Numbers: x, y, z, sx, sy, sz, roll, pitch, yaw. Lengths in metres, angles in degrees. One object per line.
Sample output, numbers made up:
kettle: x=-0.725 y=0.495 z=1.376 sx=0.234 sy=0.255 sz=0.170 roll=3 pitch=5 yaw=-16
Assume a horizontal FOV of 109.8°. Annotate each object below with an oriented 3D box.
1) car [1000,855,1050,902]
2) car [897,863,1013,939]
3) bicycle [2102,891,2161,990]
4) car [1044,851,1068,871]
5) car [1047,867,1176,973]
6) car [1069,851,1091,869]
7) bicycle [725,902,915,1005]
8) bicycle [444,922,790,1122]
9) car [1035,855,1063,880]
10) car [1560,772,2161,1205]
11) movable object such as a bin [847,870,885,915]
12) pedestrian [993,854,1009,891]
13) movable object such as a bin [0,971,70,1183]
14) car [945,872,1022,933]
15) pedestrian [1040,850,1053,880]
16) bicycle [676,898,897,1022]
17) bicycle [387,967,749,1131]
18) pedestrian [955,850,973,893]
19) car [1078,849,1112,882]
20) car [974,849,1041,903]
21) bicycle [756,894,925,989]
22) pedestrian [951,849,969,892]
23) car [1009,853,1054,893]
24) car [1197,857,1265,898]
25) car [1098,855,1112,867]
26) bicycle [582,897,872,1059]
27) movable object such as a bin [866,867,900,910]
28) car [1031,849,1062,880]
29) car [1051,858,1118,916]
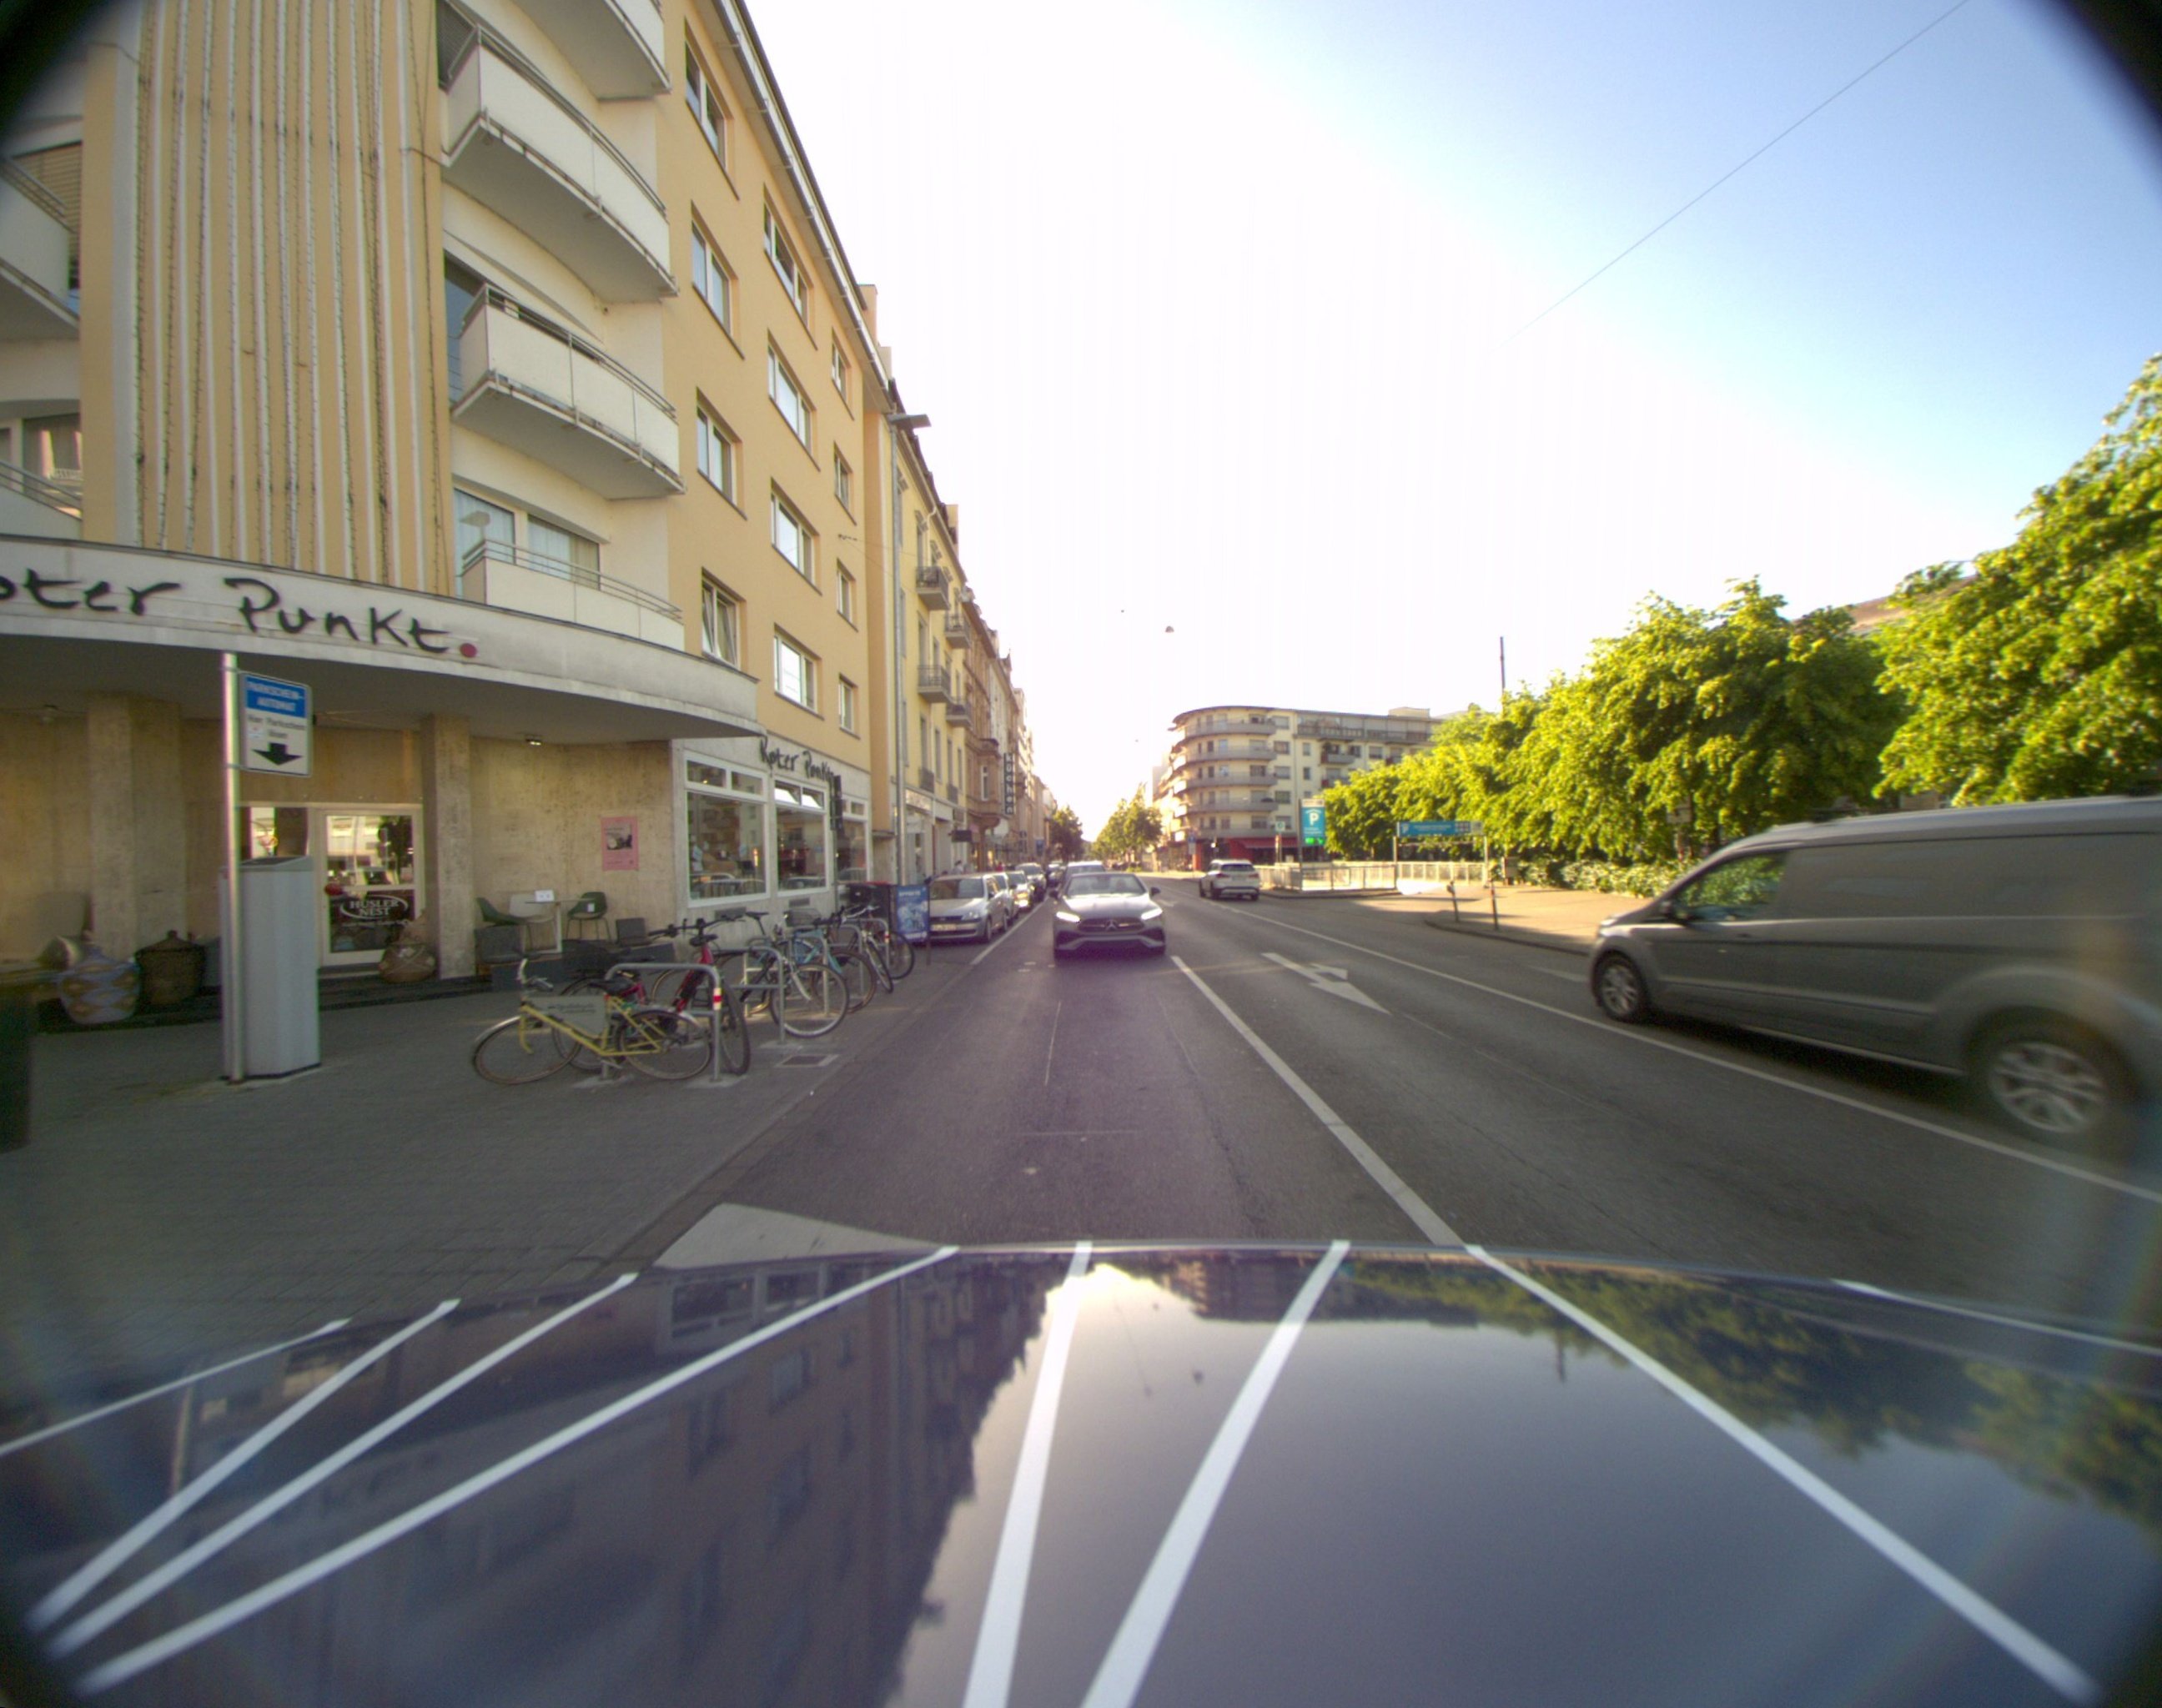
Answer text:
car: x=-2.504 y=1.017 z=33.511 sx=1.999 sy=1.867 sz=3.998 roll=-2 pitch=0 yaw=-5
car: x=-2.606 y=0.932 z=16.666 sx=1.693 sy=1.390 sz=4.000 roll=-2 pitch=0 yaw=2
bicycle: x=11.922 y=0.899 z=8.104 sx=1.559 sy=0.996 sz=0.364 roll=-2 pitch=1 yaw=0
car: x=-2.256 y=0.660 z=69.642 sx=1.998 sy=1.718 sz=4.000 roll=-2 pitch=0 yaw=1
car: x=0.394 y=1.040 z=13.804 sx=1.910 sy=1.453 sz=4.363 roll=-3 pitch=0 yaw=-2
car: x=-0.065 y=0.572 z=75.711 sx=1.998 sy=1.718 sz=4.000 roll=-2 pitch=0 yaw=1
bicycle: x=-3.111 y=1.182 z=9.186 sx=2.026 sy=1.143 sz=0.716 roll=-1 pitch=0 yaw=1
bicycle: x=-3.305 y=1.170 z=5.621 sx=1.946 sy=1.205 sz=0.933 roll=-1 pitch=0 yaw=-5
car: x=-2.470 y=1.020 z=59.003 sx=1.999 sy=1.852 sz=4.000 roll=-2 pitch=0 yaw=-1
car: x=5.837 y=0.622 z=5.235 sx=1.999 sy=1.935 sz=4.783 roll=1 pitch=0 yaw=0
movable object such as a bin: x=-5.873 y=1.045 z=20.768 sx=0.703 sy=1.154 sz=0.960 roll=-2 pitch=0 yaw=1
pedestrian: x=-4.116 y=0.944 z=39.226 sx=0.694 sy=1.895 sz=0.906 roll=-2 pitch=1 yaw=-2
movable object such as a bin: x=-6.270 y=1.243 z=4.071 sx=0.810 sy=1.106 sz=0.620 roll=-2 pitch=1 yaw=-1
car: x=-2.636 y=1.277 z=21.401 sx=1.741 sy=1.417 sz=3.999 roll=-2 pitch=0 yaw=-2
pedestrian: x=-2.222 y=0.717 z=48.784 sx=0.610 sy=1.912 sz=0.714 roll=-1 pitch=1 yaw=13
bicycle: x=-3.000 y=1.070 z=7.872 sx=1.962 sy=1.150 sz=0.755 roll=-1 pitch=0 yaw=1
bicycle: x=-3.304 y=1.251 z=5.055 sx=1.847 sy=0.826 sz=0.741 roll=-1 pitch=0 yaw=-5
pedestrian: x=-5.298 y=0.777 z=34.446 sx=0.694 sy=1.895 sz=0.906 roll=-2 pitch=1 yaw=-2
car: x=0.876 y=0.697 z=48.027 sx=1.998 sy=2.002 sz=4.000 roll=-2 pitch=0 yaw=1
car: x=-2.528 y=0.716 z=27.105 sx=1.999 sy=1.724 sz=4.198 roll=-2 pitch=0 yaw=-1
bicycle: x=-3.238 y=1.174 z=10.334 sx=2.049 sy=1.174 sz=0.683 roll=-1 pitch=0 yaw=1
pedestrian: x=-5.599 y=0.756 z=35.194 sx=0.673 sy=1.942 sz=0.615 roll=-2 pitch=1 yaw=-3
car: x=-2.566 y=0.952 z=40.362 sx=1.998 sy=2.002 sz=4.000 roll=-2 pitch=0 yaw=1
car: x=5.998 y=0.890 z=30.852 sx=1.846 sy=1.538 sz=4.239 roll=1 pitch=0 yaw=-1
car: x=3.883 y=1.103 z=122.672 sx=1.999 sy=1.758 sz=4.000 roll=-1 pitch=0 yaw=0
bicycle: x=-2.996 y=1.031 z=6.604 sx=2.142 sy=1.237 sz=0.710 roll=-1 pitch=0 yaw=-4
movable object such as a bin: x=-5.868 y=1.007 z=22.536 sx=0.703 sy=1.232 sz=0.960 roll=-2 pitch=0 yaw=1
car: x=-2.366 y=0.690 z=53.021 sx=1.999 sy=2.002 sz=4.192 roll=-2 pitch=0 yaw=0
car: x=0.152 y=1.015 z=25.336 sx=1.998 sy=1.718 sz=4.000 roll=-2 pitch=0 yaw=1
